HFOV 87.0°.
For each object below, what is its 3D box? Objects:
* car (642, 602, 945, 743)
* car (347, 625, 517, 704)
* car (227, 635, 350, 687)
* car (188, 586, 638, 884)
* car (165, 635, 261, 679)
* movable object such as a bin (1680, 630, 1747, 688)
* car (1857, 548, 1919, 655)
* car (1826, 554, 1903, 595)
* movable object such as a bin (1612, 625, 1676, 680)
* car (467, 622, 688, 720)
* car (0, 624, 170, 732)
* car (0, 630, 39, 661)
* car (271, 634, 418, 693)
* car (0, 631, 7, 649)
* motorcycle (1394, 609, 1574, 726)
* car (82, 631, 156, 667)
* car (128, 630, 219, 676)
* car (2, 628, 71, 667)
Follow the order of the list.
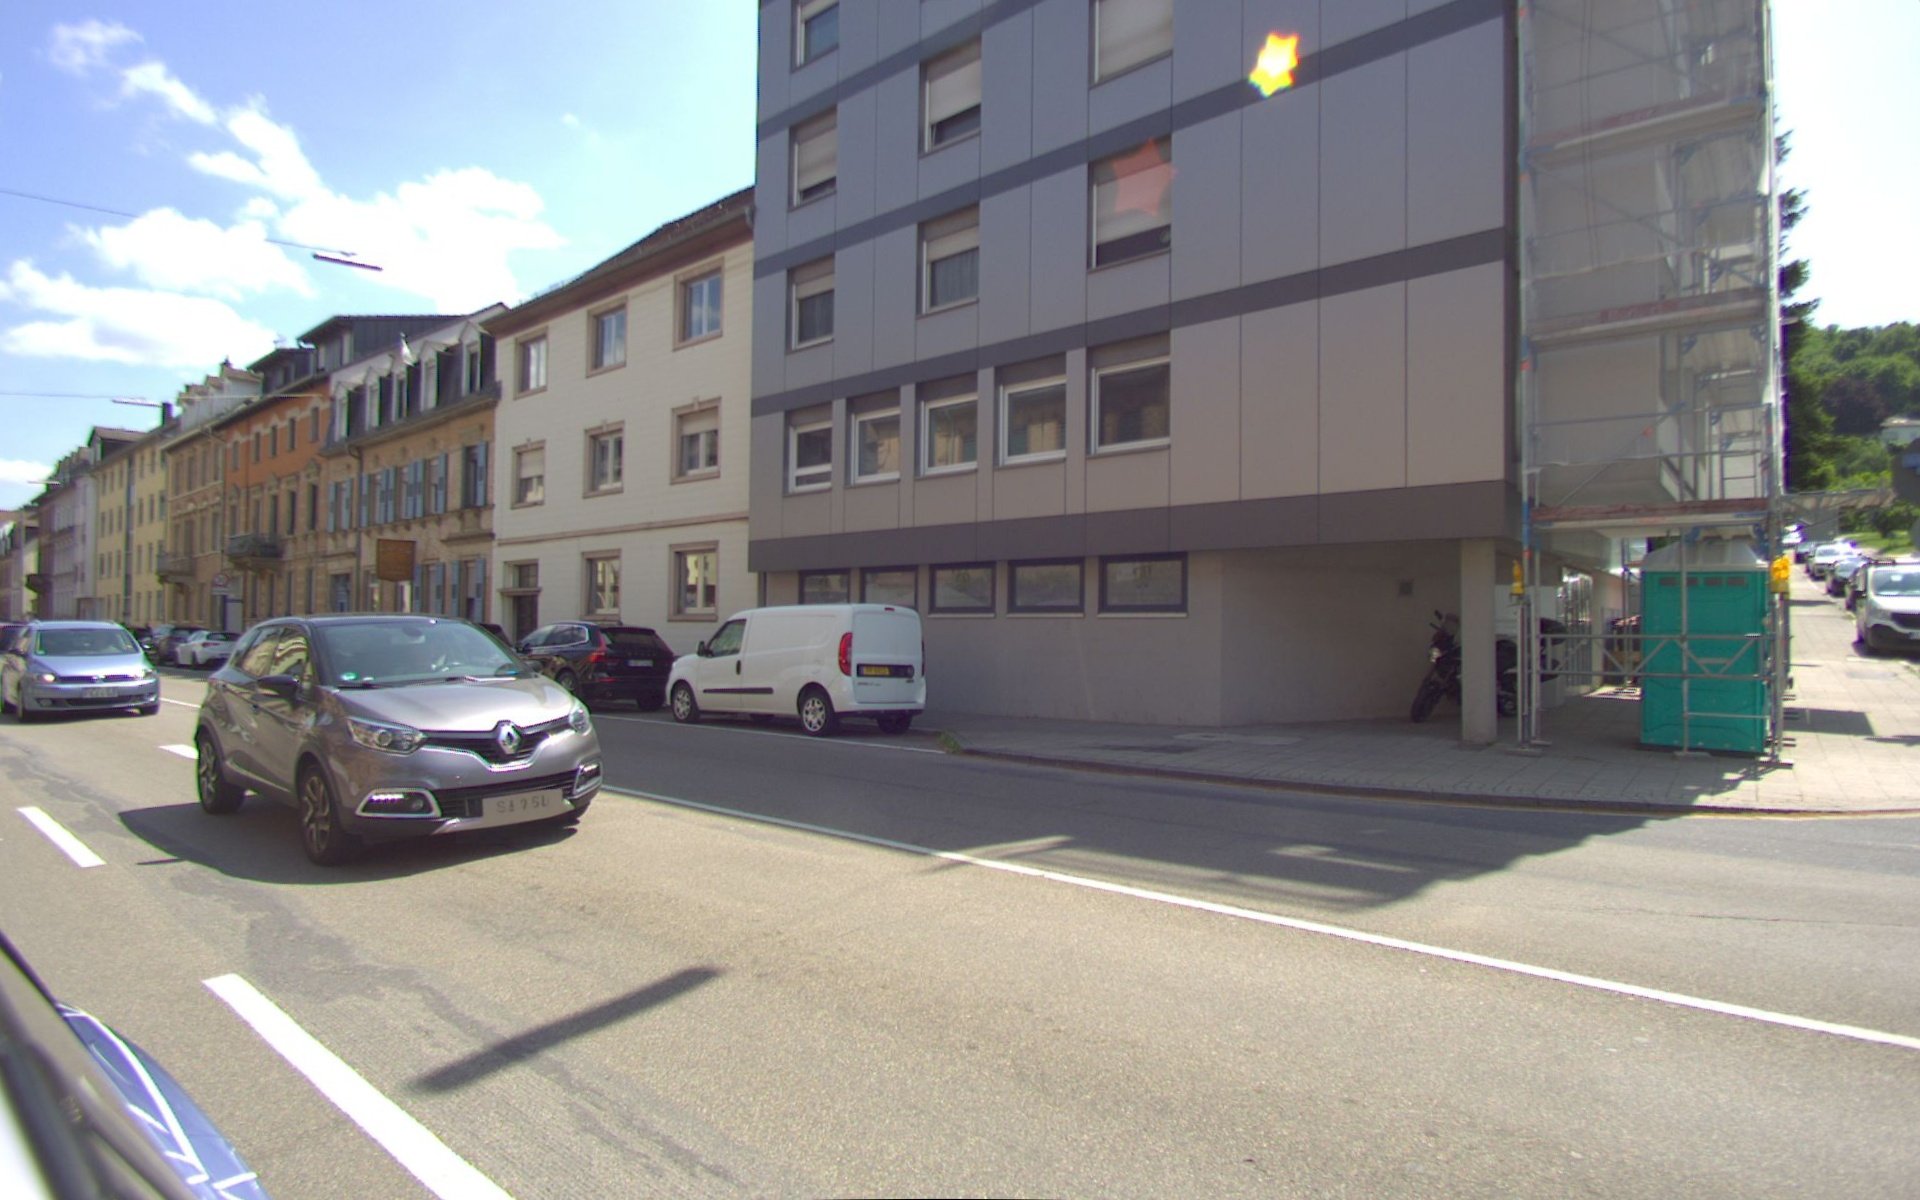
[{"bbox_3d":[-2.666,1.034,15.504,4.784,1.839,1.894,-1,-4,40],"label":"car"},{"bbox_3d":[-12.307,1.437,23.468,4.816,1.653,1.865,-1,-4,42],"label":"car"},{"bbox_3d":[-21.047,1.886,31.652,4.324,1.417,1.847,-1,-6,38],"label":"car"},{"bbox_3d":[-4.253,0.801,7.589,3.999,1.644,1.735,-2,-2,42],"label":"car"},{"bbox_3d":[-27.612,2.081,37.376,4.328,1.437,1.845,-1,-6,41],"label":"car"},{"bbox_3d":[12.758,0.983,17.139,0.826,0.933,0.730,-2,-2,42],"label":"movable object such as a bin"},{"bbox_3d":[21.370,-0.058,22.467,2.074,2.193,4.944,-2,1,41],"label":"car"},{"bbox_3d":[35.504,-1.013,39.810,1.753,1.458,3.697,-2,2,34],"label":"car"},{"bbox_3d":[12.088,0.915,17.886,0.826,0.933,0.730,-2,-2,42],"label":"movable object such as a bin"},{"bbox_3d":[-7.400,1.290,19.372,4.659,1.653,1.866,-1,-4,40],"label":"car"},{"bbox_3d":[-14.705,1.201,16.853,3.998,1.580,1.736,-2,-2,42],"label":"car"},{"bbox_3d":[-47.418,2.236,50.487,4.132,1.489,1.683,-2,-3,42],"label":"car"},{"bbox_3d":[-17.088,1.736,28.018,4.831,1.417,1.847,-1,-6,39],"label":"car"},{"bbox_3d":[-78.596,3.156,81.724,4.099,1.421,1.728,-1,-6,38],"label":"car"},{"bbox_3d":[7.034,0.881,13.637,2.009,1.483,0.884,0,-1,-11],"label":"motorcycle"},{"bbox_3d":[-40.268,2.342,48.439,4.496,1.563,1.846,-1,-6,40],"label":"car"},{"bbox_3d":[-31.596,2.114,40.622,4.496,1.640,1.846,-1,-6,40],"label":"car"},{"bbox_3d":[-39.120,1.993,42.842,4.310,1.587,1.683,-2,-3,42],"label":"car"}]
